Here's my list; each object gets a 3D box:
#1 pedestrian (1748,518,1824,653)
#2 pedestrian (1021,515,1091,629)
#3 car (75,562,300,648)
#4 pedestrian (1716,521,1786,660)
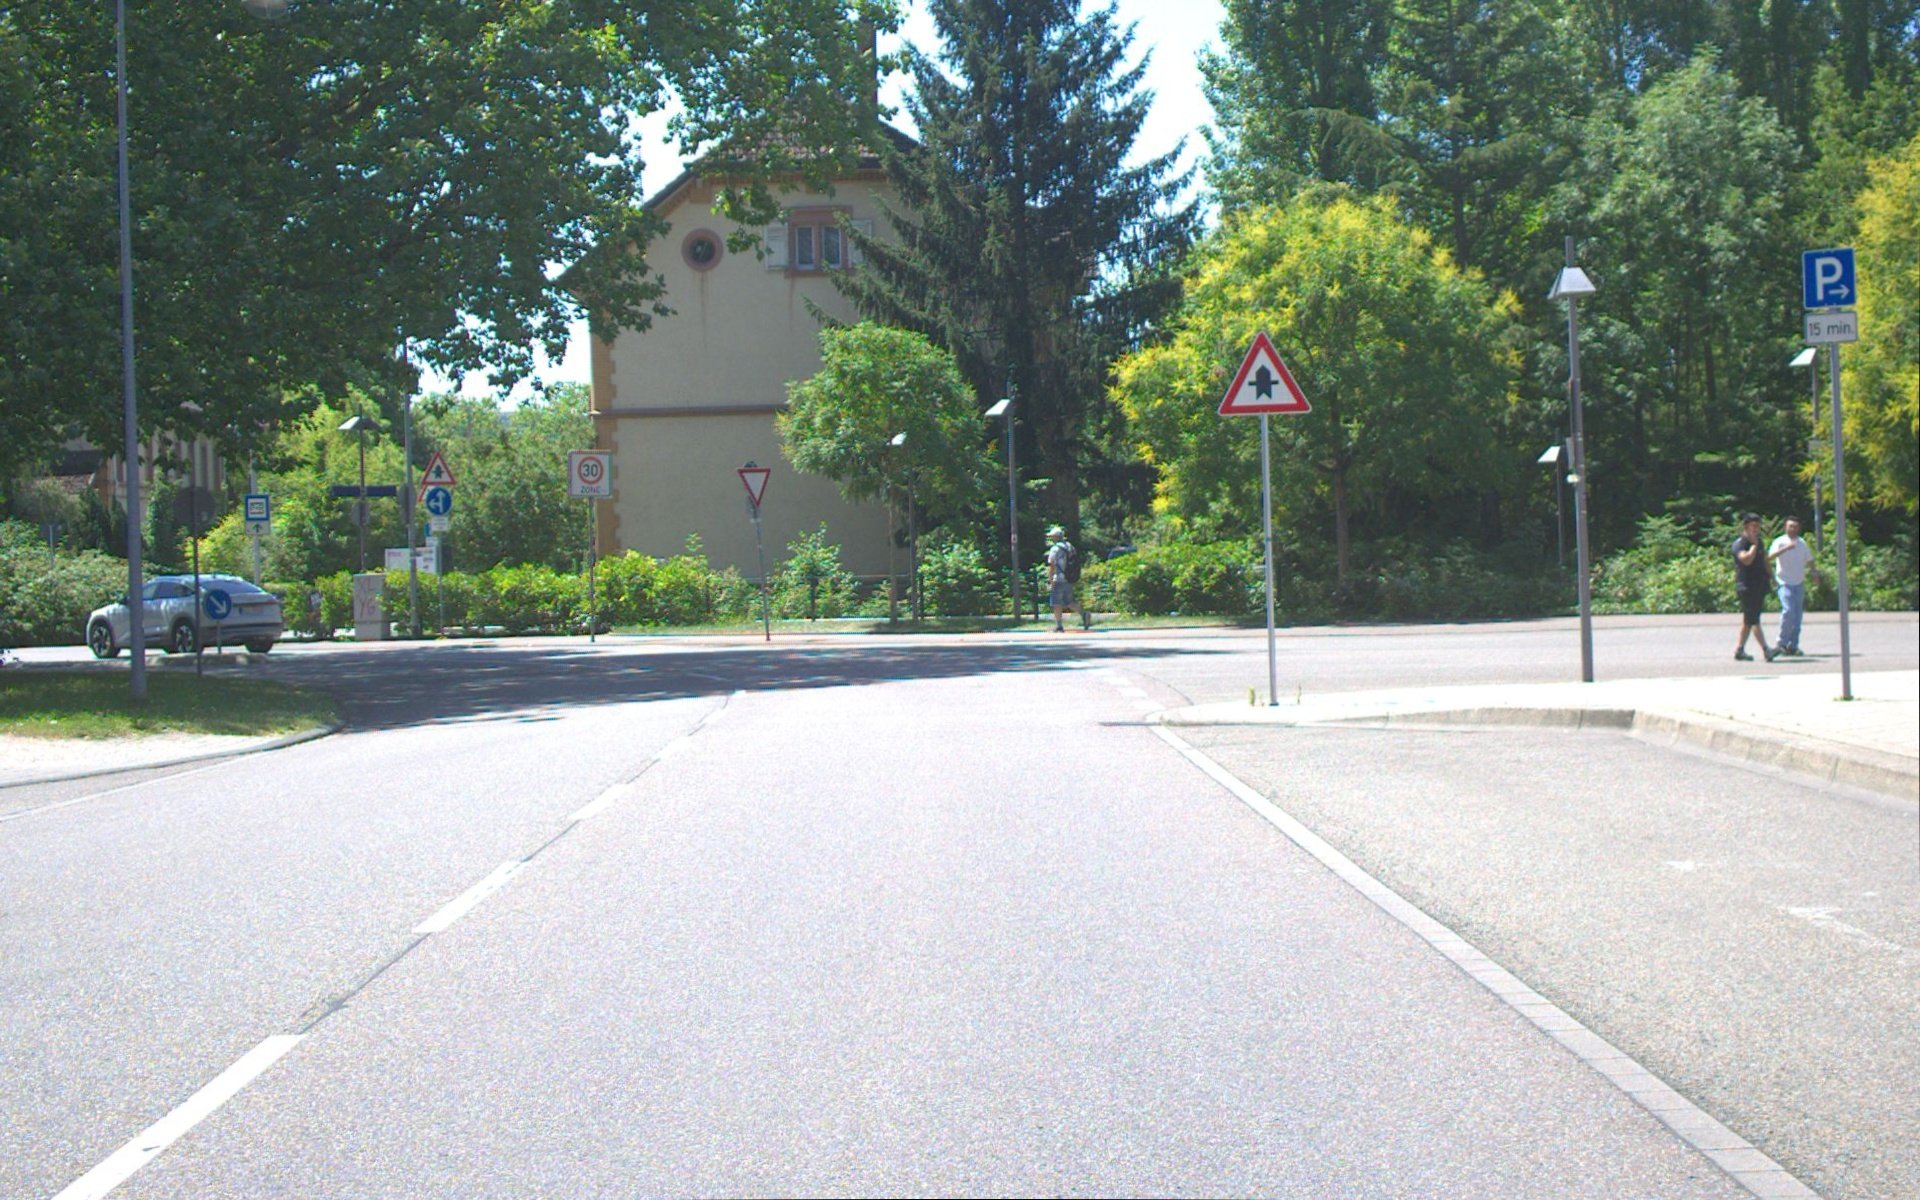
[{"bbox_3d":[10.201,-0.168,42.452,0.721,1.644,0.749,-1,-1,28],"label":"pedestrian"},{"bbox_3d":[1.663,-0.482,59.798,0.804,1.959,0.856,-2,1,-40],"label":"pedestrian"},{"bbox_3d":[-15.544,0.110,69.053,4.774,1.621,1.984,-1,1,42],"label":"car"},{"bbox_3d":[9.505,-0.103,41.298,0.636,1.644,0.749,-1,-1,28],"label":"pedestrian"}]
